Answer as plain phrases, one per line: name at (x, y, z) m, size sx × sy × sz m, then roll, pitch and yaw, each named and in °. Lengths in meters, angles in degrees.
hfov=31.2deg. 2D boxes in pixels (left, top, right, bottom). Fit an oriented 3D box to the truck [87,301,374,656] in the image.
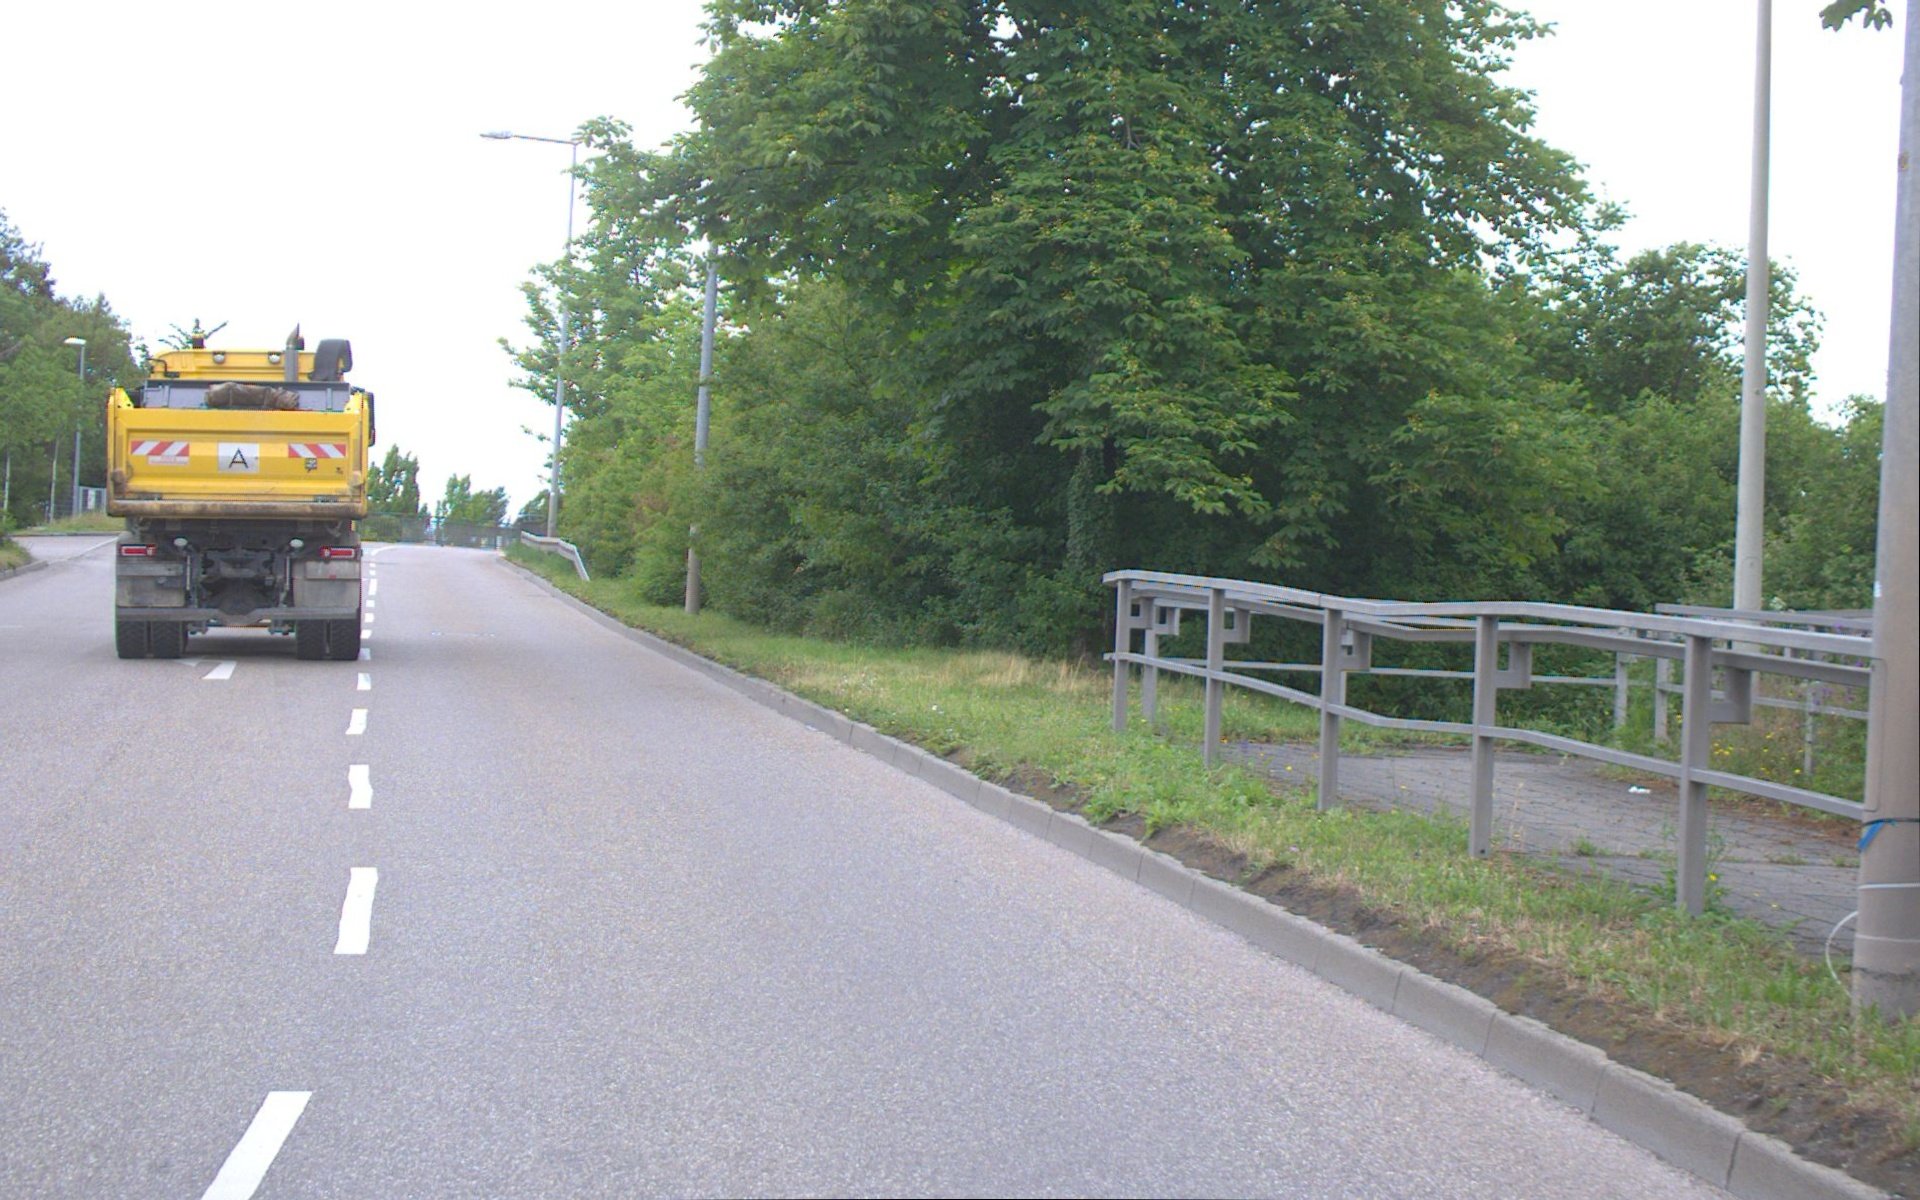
truck at (-7.916, -1.327, 37.984) m, size 2.764 × 3.471 × 8.132 m, roll 0°, pitch 2°, yaw -10°
